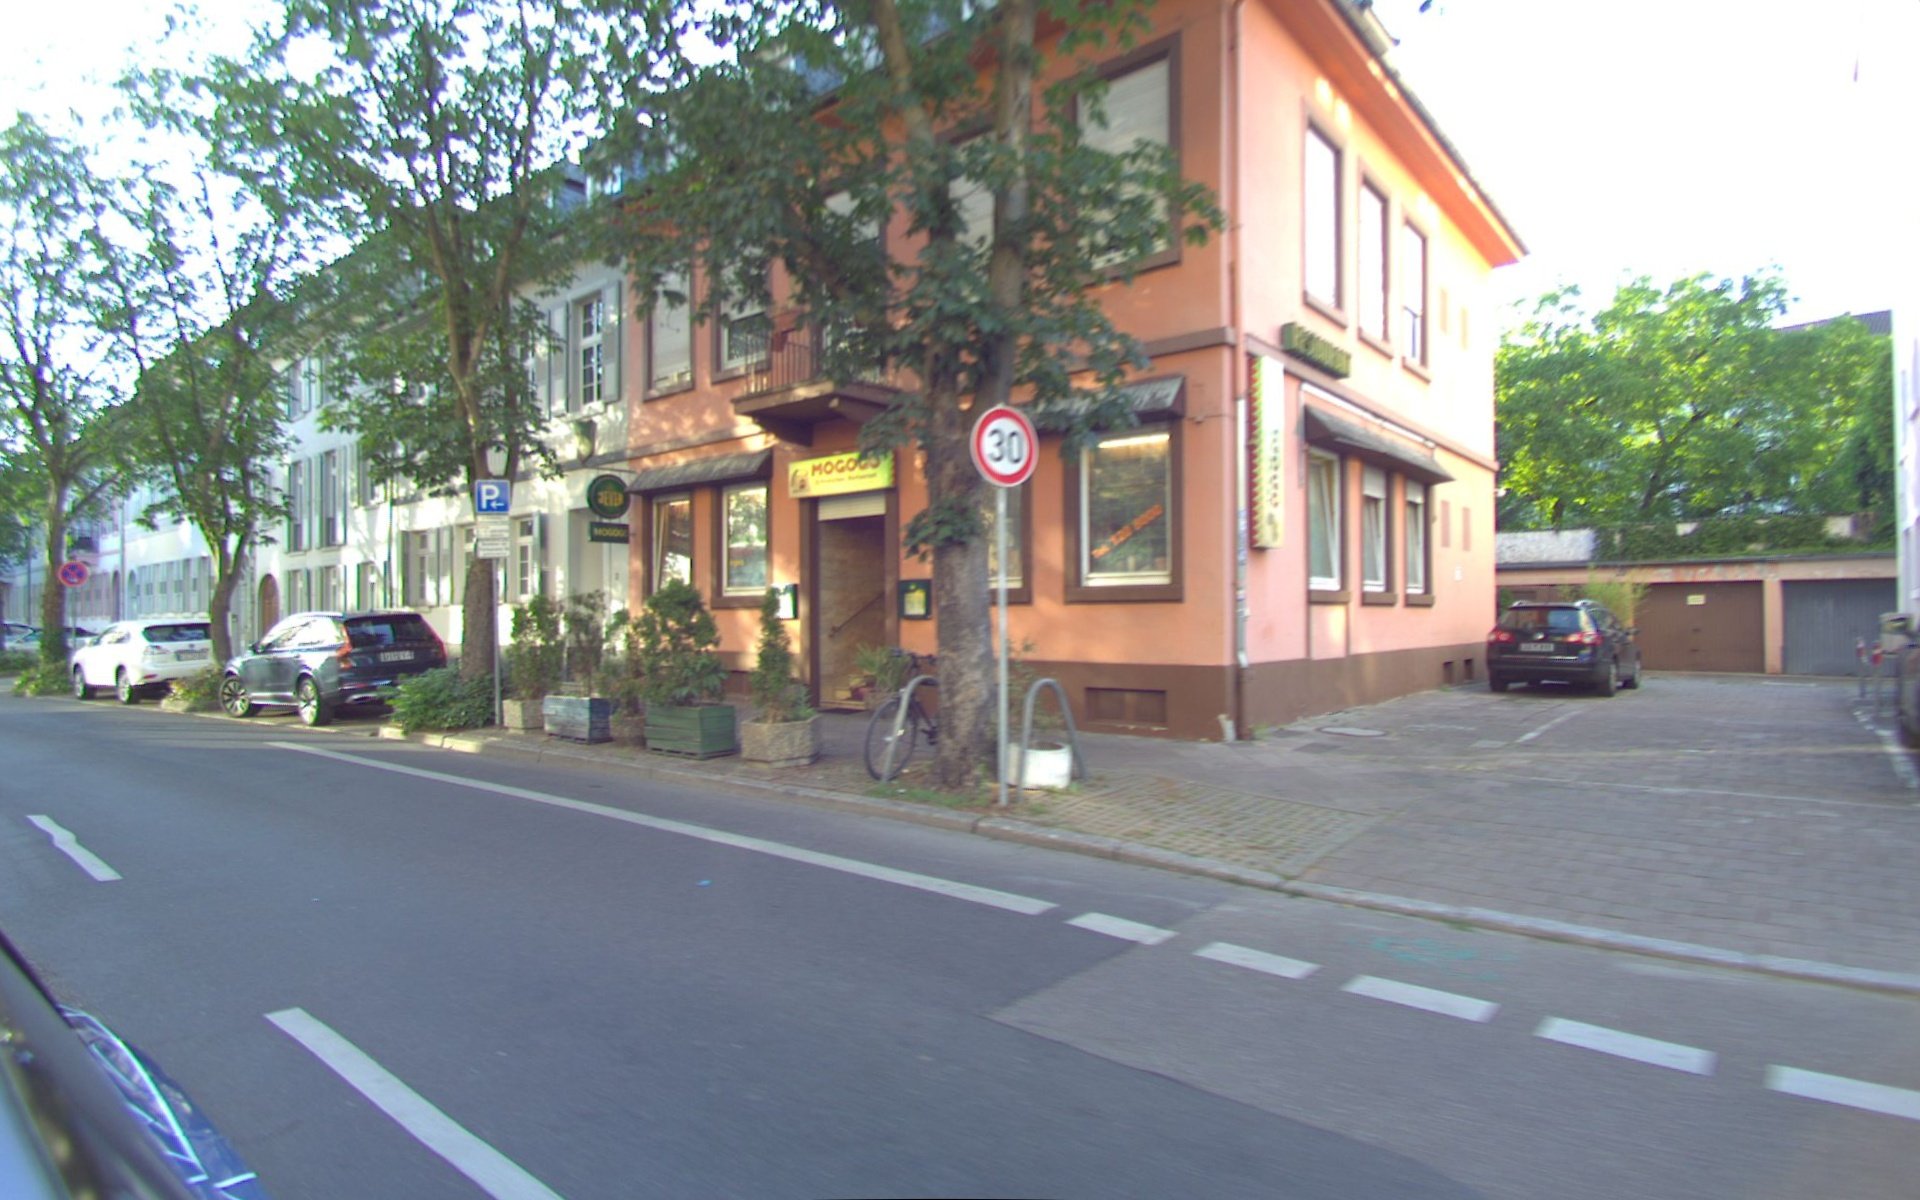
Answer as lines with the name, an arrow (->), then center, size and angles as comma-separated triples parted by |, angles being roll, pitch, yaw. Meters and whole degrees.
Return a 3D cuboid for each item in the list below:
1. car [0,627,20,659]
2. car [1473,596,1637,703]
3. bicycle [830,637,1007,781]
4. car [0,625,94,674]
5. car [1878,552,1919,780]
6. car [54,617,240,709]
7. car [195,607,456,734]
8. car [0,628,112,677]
car -> -47.553, 2.072, 47.949 | 1.798, 1.519, 4.179 | -1, -2, 37
car -> 10.046, 0.765, 16.962 | 1.884, 1.567, 3.763 | -2, -1, 38
bicycle -> -0.321, 0.911, 9.090 | 0.609, 1.112, 1.851 | -1, -1, 34
car -> -33.802, 1.755, 36.086 | 1.798, 1.703, 4.179 | -1, -2, 37
car -> 8.367, 0.452, 7.608 | 1.862, 1.678, 4.375 | -2, 0, 39
car -> -17.713, 1.293, 21.985 | 4.645, 1.680, 1.813 | -1, 2, 35
car -> -10.794, 1.088, 17.072 | 5.036, 1.772, 1.813 | -1, 2, 35
car -> -31.644, 1.762, 34.391 | 1.801, 1.557, 4.173 | -2, -2, 43
